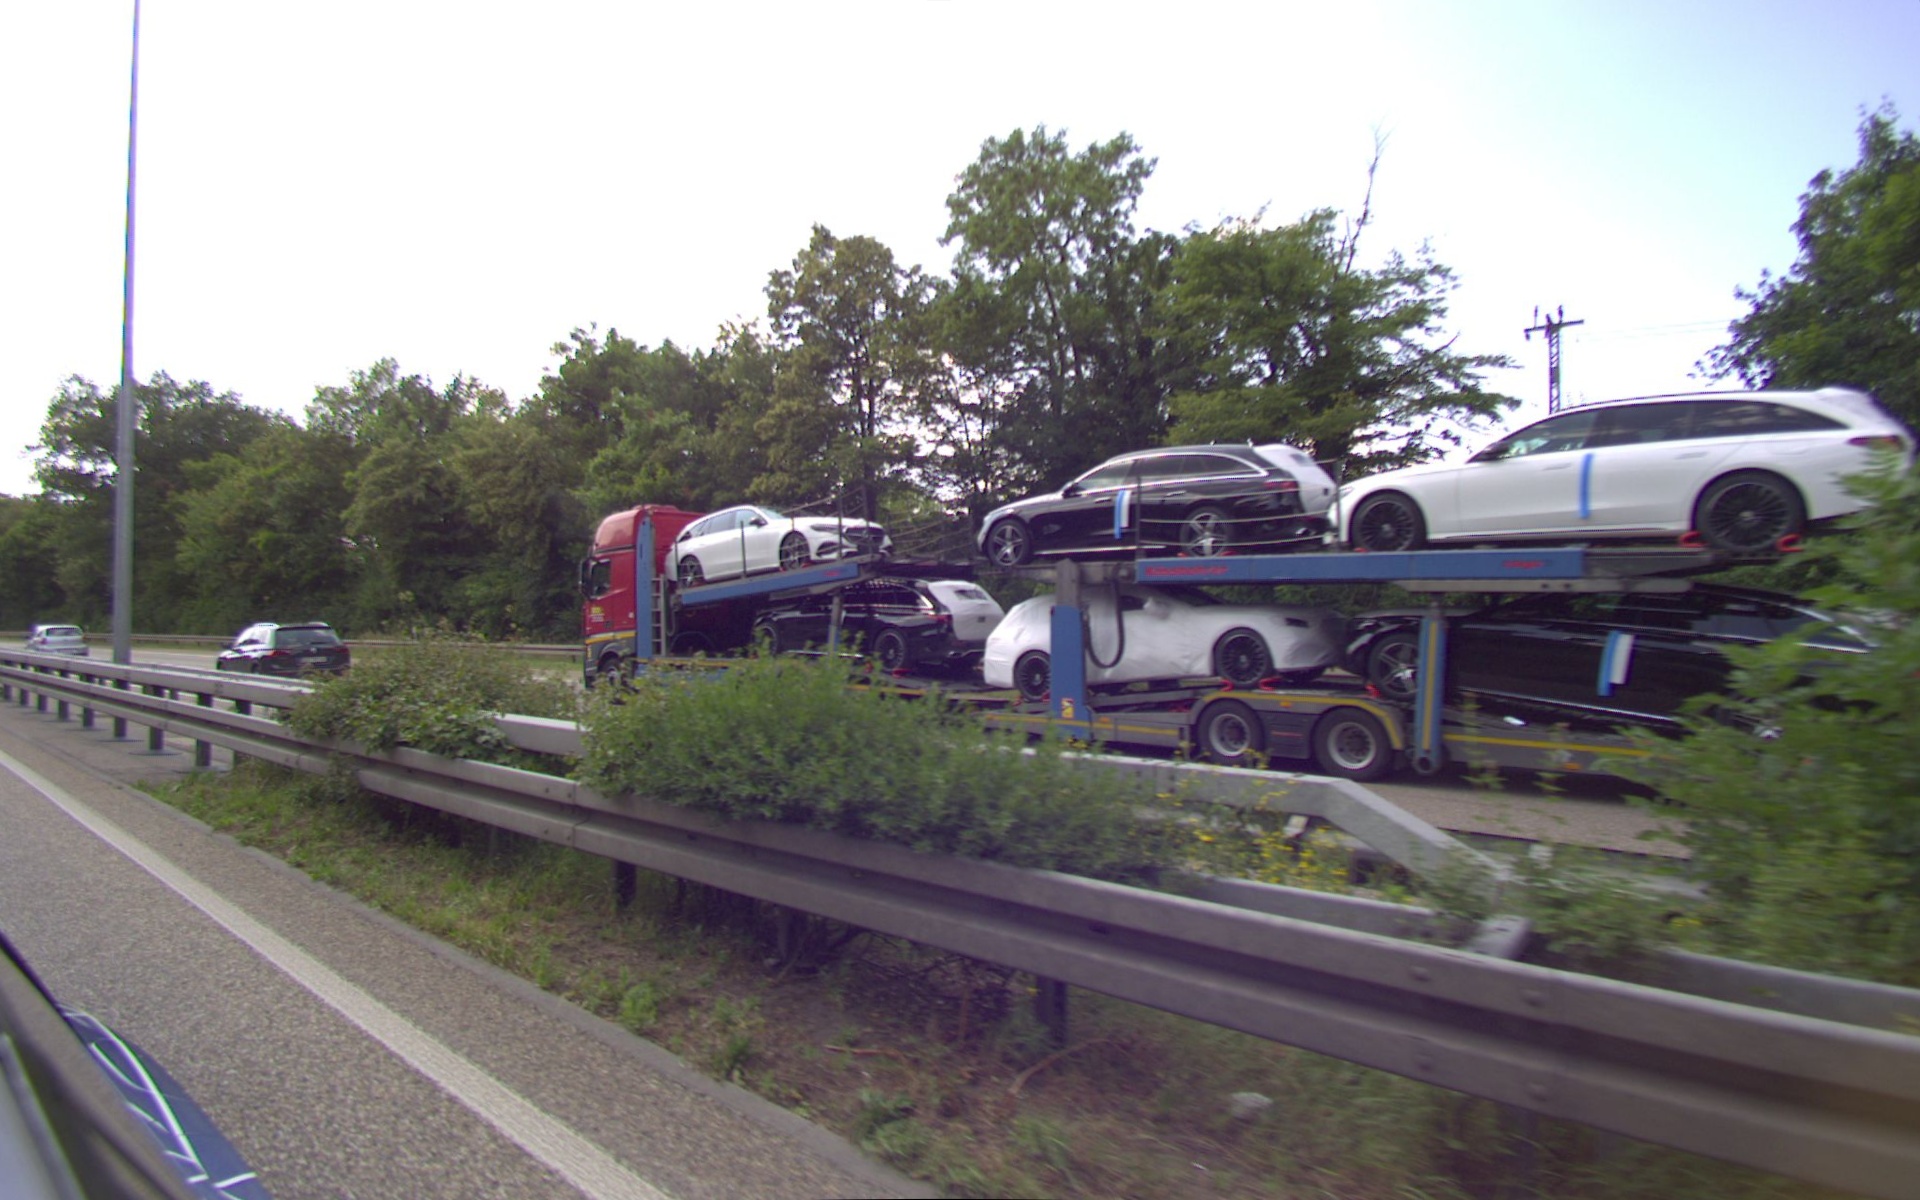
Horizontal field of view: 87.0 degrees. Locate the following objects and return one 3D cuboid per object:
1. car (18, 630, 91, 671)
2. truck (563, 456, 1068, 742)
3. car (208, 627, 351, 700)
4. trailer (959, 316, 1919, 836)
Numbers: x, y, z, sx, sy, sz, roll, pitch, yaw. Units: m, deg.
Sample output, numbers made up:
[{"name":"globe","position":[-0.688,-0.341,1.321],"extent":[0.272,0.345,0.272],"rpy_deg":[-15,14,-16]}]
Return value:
[{"name":"car","position":[-37.652,2.059,42.056],"extent":[4.028,1.580,1.689],"rpy_deg":[-1,-2,40]},{"name":"truck","position":[-3.138,0.107,18.223],"extent":[10.316,3.885,2.924],"rpy_deg":[-1,-2,41]},{"name":"car","position":[-15.996,1.419,23.713],"extent":[4.260,1.563,1.657],"rpy_deg":[-1,-2,40]},{"name":"trailer","position":[4.833,-0.076,11.397],"extent":[10.303,3.862,2.907],"rpy_deg":[-1,-2,41]}]
